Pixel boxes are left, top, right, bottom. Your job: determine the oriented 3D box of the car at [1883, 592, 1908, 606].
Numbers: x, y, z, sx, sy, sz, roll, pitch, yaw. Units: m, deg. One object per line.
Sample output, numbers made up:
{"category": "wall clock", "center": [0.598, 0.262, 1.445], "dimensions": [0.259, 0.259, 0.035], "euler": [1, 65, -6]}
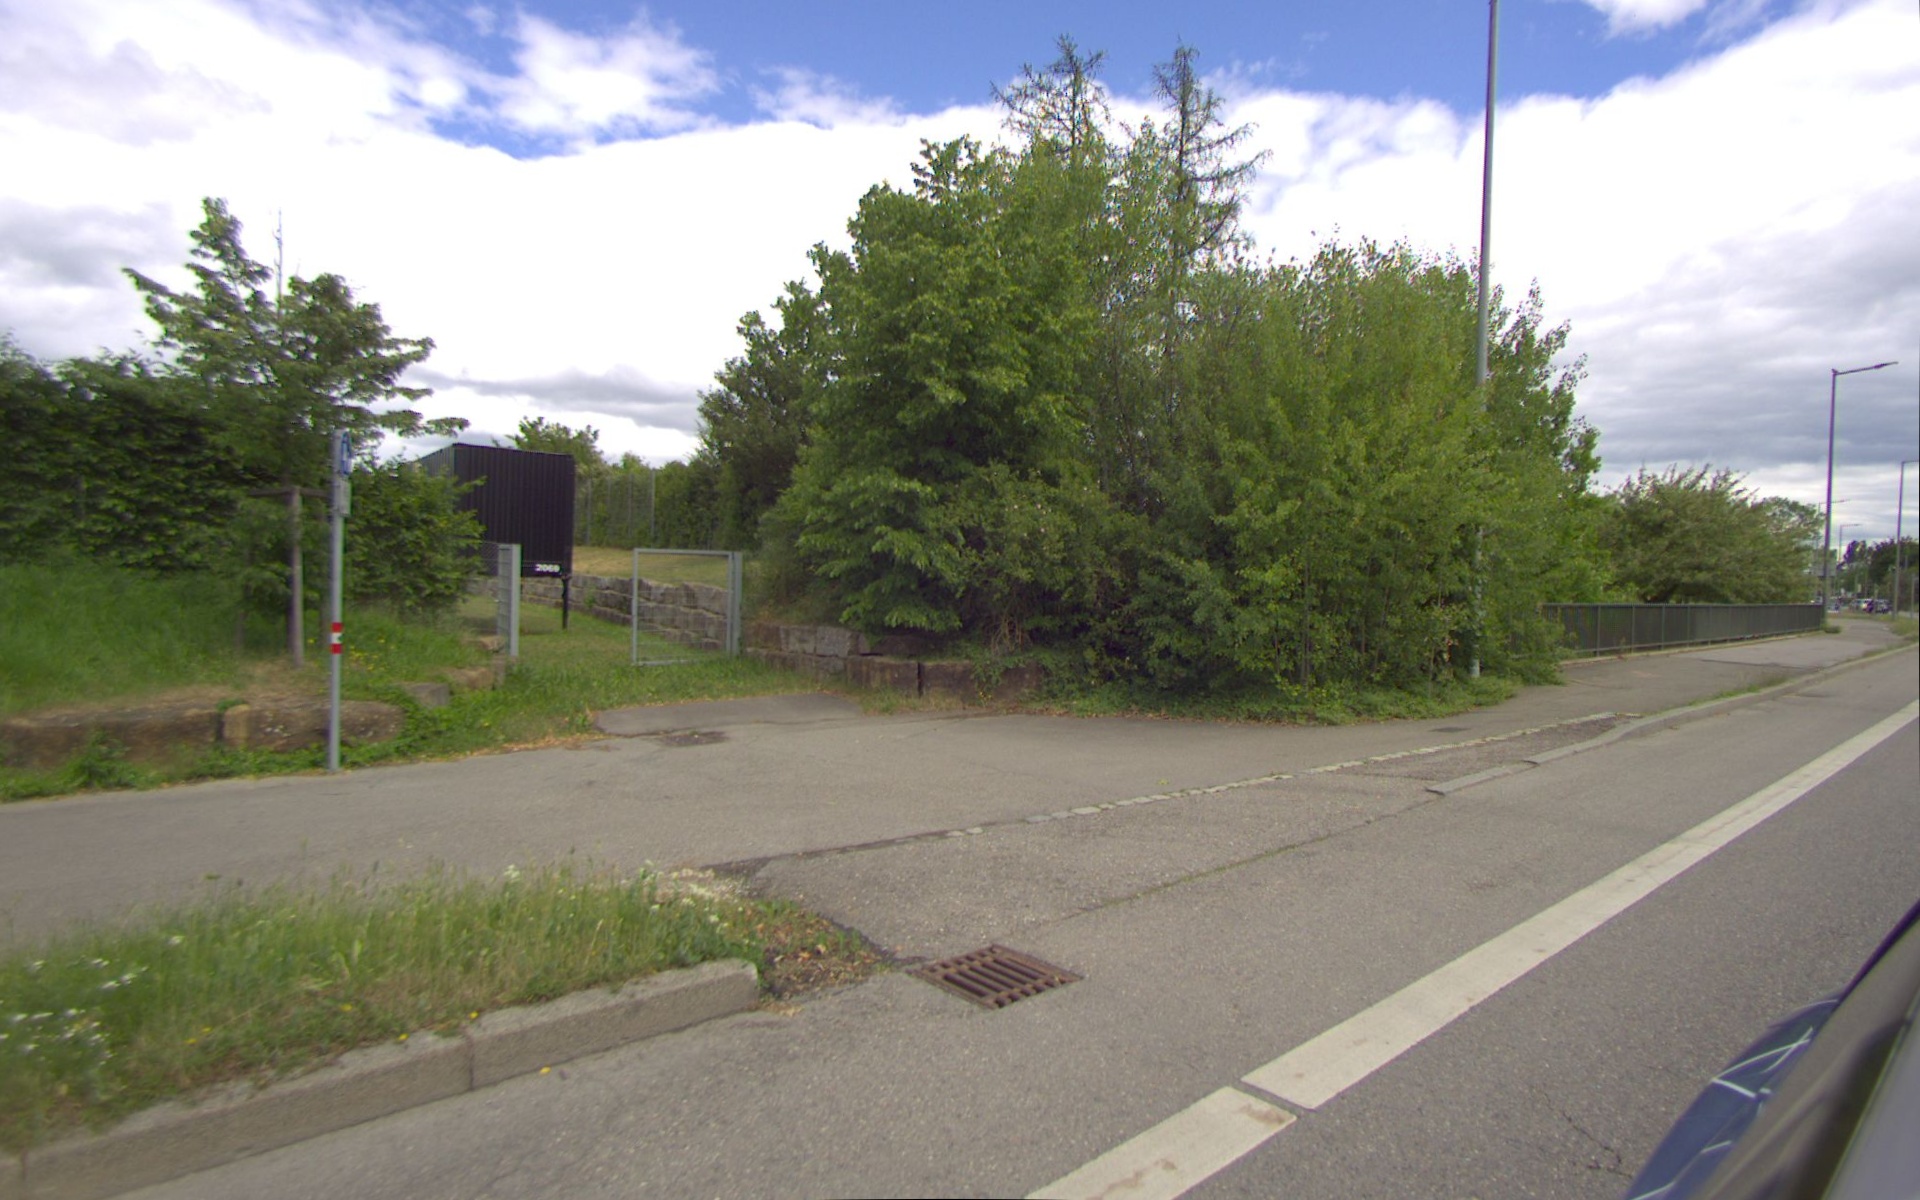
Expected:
{"category": "car", "center": [102.581, -0.117, 110.999], "dimensions": [1.728, 1.459, 4.306], "euler": [1, 1, 39]}
